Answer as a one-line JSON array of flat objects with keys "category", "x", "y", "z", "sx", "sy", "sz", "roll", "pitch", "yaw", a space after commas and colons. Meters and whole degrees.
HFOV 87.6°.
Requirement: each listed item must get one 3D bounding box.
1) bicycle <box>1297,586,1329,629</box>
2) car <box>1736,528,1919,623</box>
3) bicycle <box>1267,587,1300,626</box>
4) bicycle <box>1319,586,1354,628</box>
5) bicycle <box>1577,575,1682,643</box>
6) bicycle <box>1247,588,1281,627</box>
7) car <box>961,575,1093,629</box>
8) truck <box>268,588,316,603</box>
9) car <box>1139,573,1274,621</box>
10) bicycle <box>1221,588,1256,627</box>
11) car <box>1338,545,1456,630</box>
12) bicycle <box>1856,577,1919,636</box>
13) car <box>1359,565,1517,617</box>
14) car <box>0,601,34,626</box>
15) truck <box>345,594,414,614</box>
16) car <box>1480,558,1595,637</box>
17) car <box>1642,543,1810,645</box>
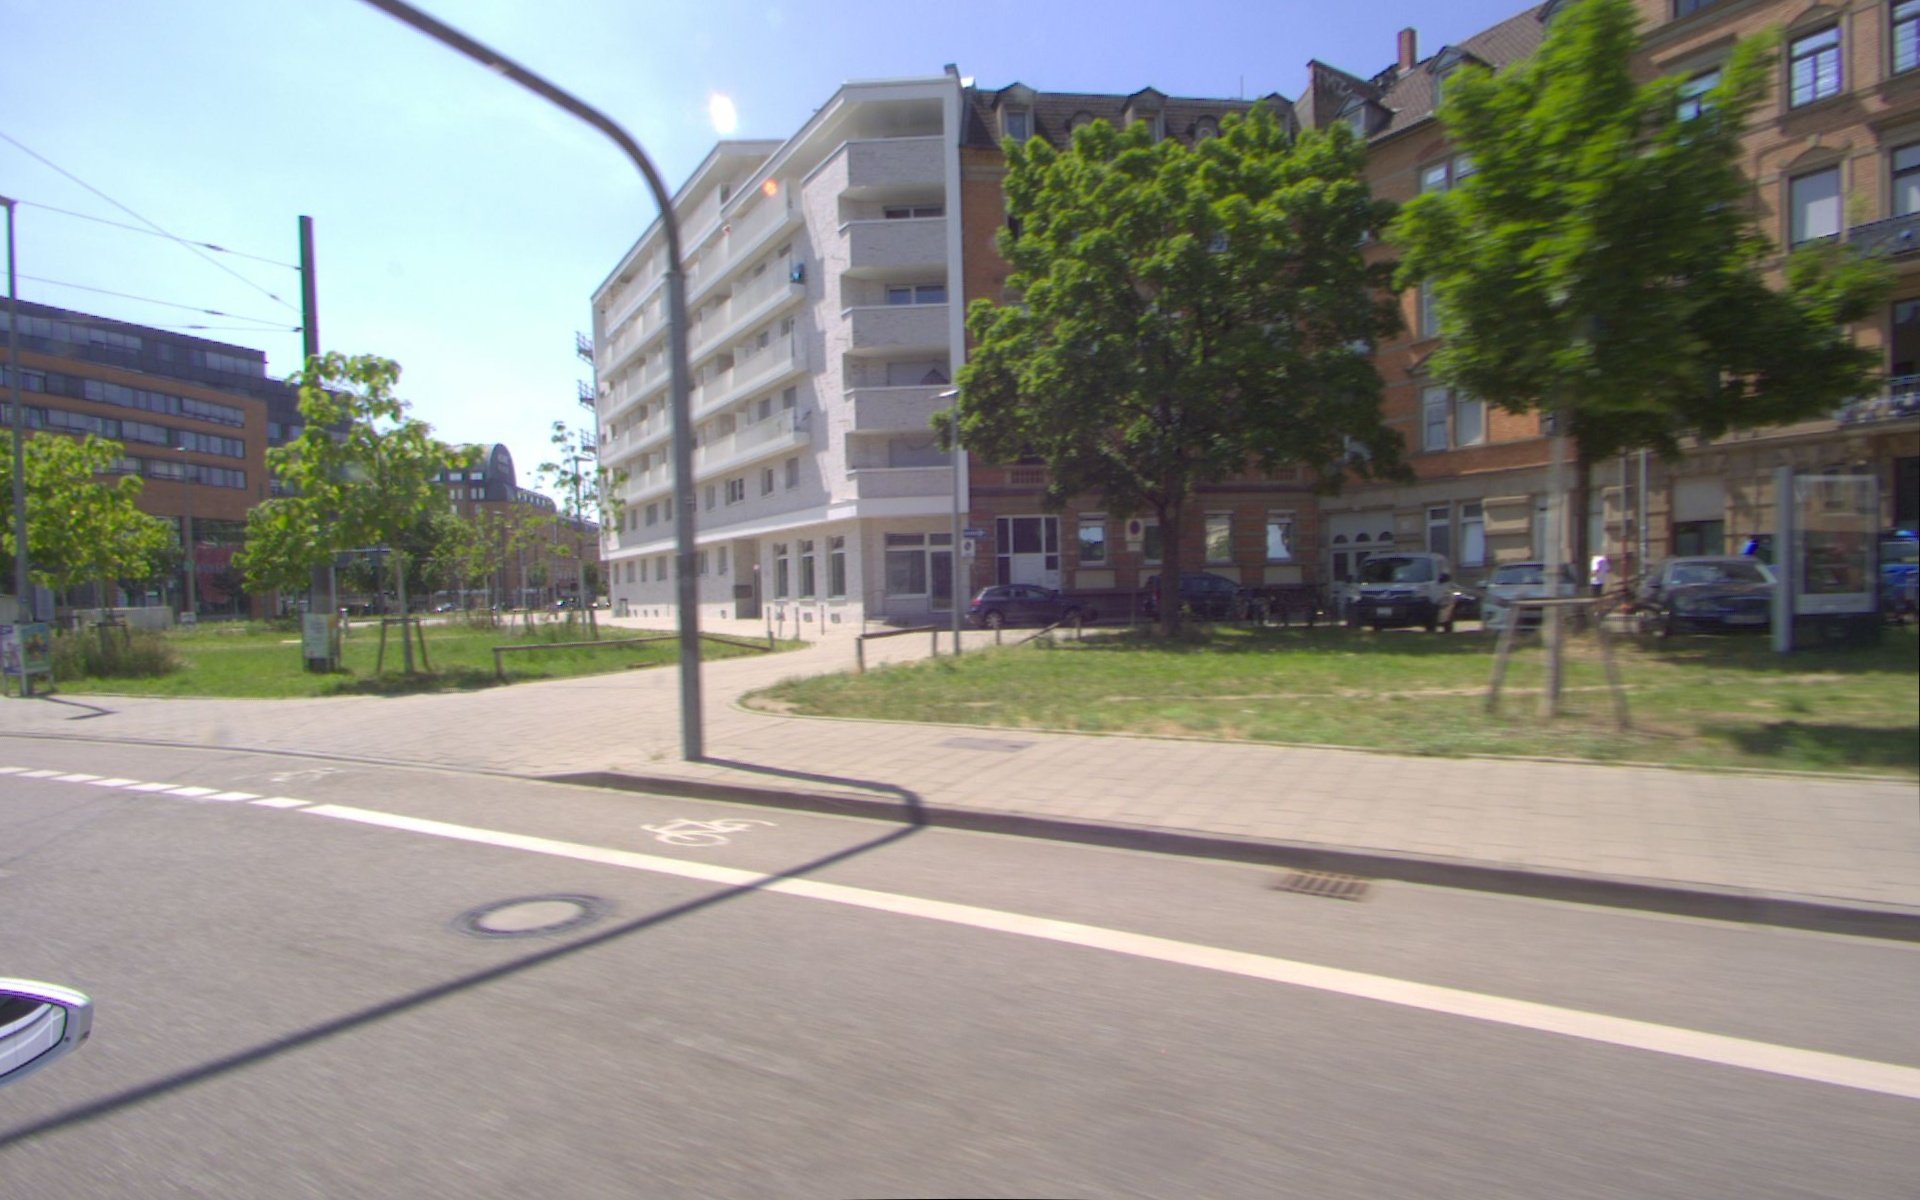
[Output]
[{"category": "bicycle", "x": 8.324, "y": 0.172, "z": 23.661, "sx": 0.499, "sy": 0.948, "sz": 2.425, "roll": 0, "pitch": 0, "yaw": 14}, {"category": "car", "x": 19.837, "y": -0.496, "z": 21.539, "sx": 1.899, "sy": 1.929, "sz": 4.626, "roll": 0, "pitch": 0, "yaw": -32}, {"category": "bicycle", "x": 8.090, "y": 0.158, "z": 25.013, "sx": 0.500, "sy": 0.948, "sz": 2.043, "roll": 0, "pitch": 0, "yaw": 27}, {"category": "bicycle", "x": 8.885, "y": 0.145, "z": 23.696, "sx": 0.499, "sy": 0.948, "sz": 2.424, "roll": -1, "pitch": 1, "yaw": 14}, {"category": "bicycle", "x": 9.967, "y": 0.133, "z": 14.962, "sx": 0.468, "sy": 0.960, "sz": 1.369, "roll": 0, "pitch": 0, "yaw": -12}, {"category": "bicycle", "x": 7.731, "y": 0.179, "z": 25.437, "sx": 0.500, "sy": 0.948, "sz": 2.043, "roll": 0, "pitch": 0, "yaw": 27}, {"category": "car", "x": 2.105, "y": 0.059, "z": 32.050, "sx": 4.050, "sy": 1.646, "sz": 1.695, "roll": 0, "pitch": 0, "yaw": -3}, {"category": "truck", "x": -93.946, "y": -0.593, "z": 140.818, "sx": 5.276, "sy": 2.040, "sz": 1.881, "roll": 0, "pitch": 0, "yaw": -5}, {"category": "car", "x": 8.112, "y": -0.097, "z": 33.220, "sx": 4.002, "sy": 1.550, "sz": 1.777, "roll": 0, "pitch": 0, "yaw": -3}, {"category": "bicycle", "x": 7.097, "y": 0.176, "z": 25.464, "sx": 0.500, "sy": 0.948, "sz": 2.043, "roll": 0, "pitch": 0, "yaw": 27}, {"category": "car", "x": 9.540, "y": -0.228, "z": 21.635, "sx": 1.809, "sy": 1.622, "sz": 4.851, "roll": 0, "pitch": 0, "yaw": 30}, {"category": "bicycle", "x": 13.543, "y": 0.091, "z": 14.143, "sx": 0.489, "sy": 0.816, "sz": 1.456, "roll": 0, "pitch": 0, "yaw": 2}, {"category": "car", "x": 14.263, "y": -0.252, "z": 30.079, "sx": 1.754, "sy": 1.439, "sz": 3.974, "roll": 0, "pitch": 0, "yaw": -33}, {"category": "car", "x": -65.029, "y": 0.891, "z": 66.118, "sx": 1.963, "sy": 1.690, "sz": 5.474, "roll": 0, "pitch": 0, "yaw": 15}, {"category": "truck", "x": -86.592, "y": 0.597, "z": 149.506, "sx": 9.060, "sy": 2.846, "sz": 2.000, "roll": 0, "pitch": 1, "yaw": -1}, {"category": "car", "x": 11.072, "y": -0.032, "z": 19.244, "sx": 1.733, "sy": 1.350, "sz": 3.981, "roll": 0, "pitch": 0, "yaw": 30}, {"category": "car", "x": 12.354, "y": -0.080, "z": 16.380, "sx": 1.582, "sy": 1.451, "sz": 3.852, "roll": 0, "pitch": 0, "yaw": 28}]
